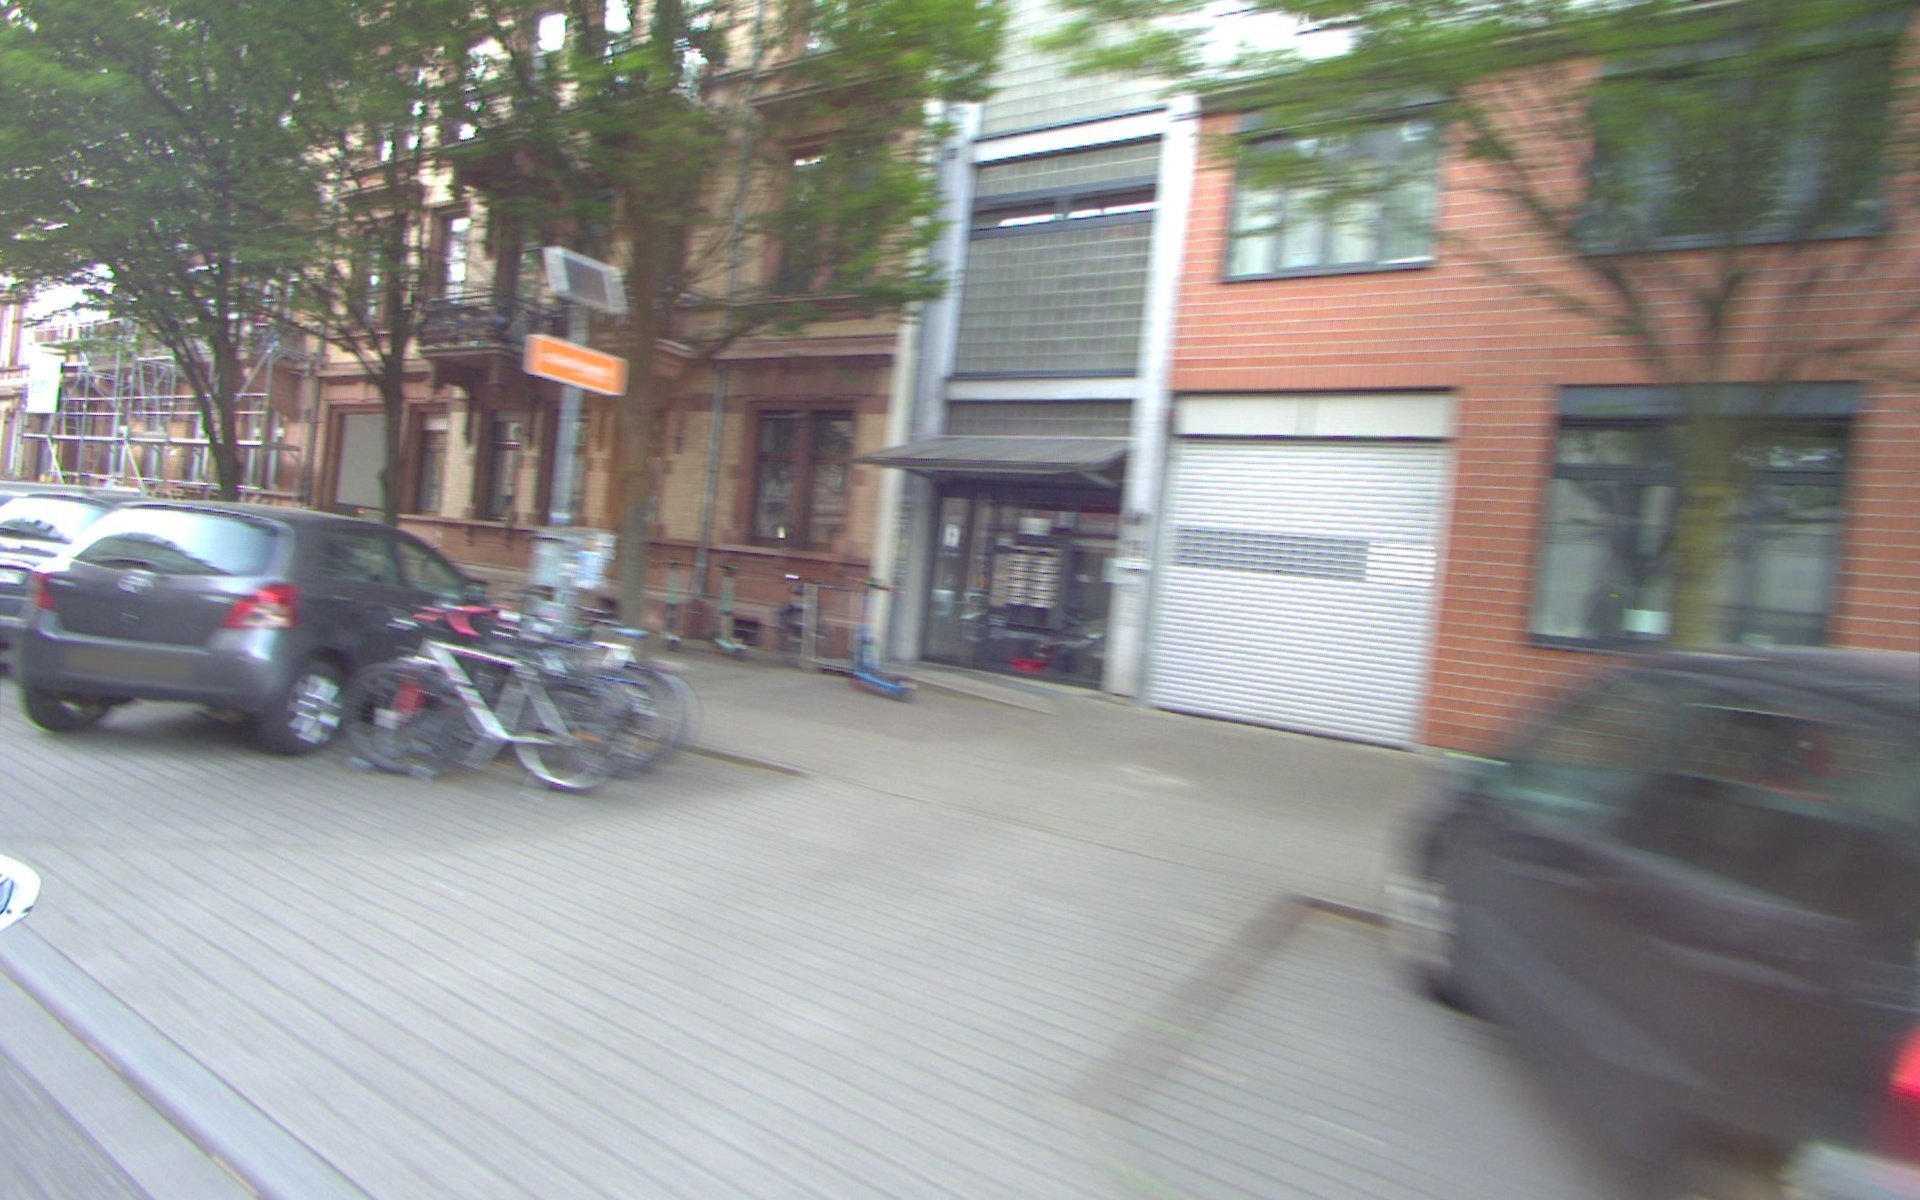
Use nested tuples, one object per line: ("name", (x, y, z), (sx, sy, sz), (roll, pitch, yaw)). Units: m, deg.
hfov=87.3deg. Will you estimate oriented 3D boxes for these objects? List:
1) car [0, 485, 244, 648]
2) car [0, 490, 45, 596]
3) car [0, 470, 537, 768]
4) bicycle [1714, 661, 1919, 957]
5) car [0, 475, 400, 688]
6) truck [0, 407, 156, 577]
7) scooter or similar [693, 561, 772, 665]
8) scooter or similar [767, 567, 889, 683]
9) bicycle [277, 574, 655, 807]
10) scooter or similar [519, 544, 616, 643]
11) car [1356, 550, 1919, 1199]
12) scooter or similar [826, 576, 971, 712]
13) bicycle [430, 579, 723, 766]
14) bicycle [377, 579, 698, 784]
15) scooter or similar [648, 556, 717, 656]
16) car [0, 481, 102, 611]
("car", (-9.619, -0.410, 10.369), (1.730, 1.455, 3.833), (7, 1, -2))
("car", (-14.413, -0.930, 13.096), (1.581, 1.482, 3.561), (7, -1, 1))
("car", (-4.782, 0.067, 7.379), (1.742, 1.493, 3.405), (7, 1, 1))
("bicycle", (5.175, 1.132, 6.177), (0.590, 1.396, 2.535), (7, 0, 34))
("car", (-7.420, -0.206, 9.479), (1.729, 1.550, 3.837), (6, 1, 7))
("truck", (-19.858, -2.309, 19.345), (2.228, 3.011, 6.328), (4, -3, 33))
("scooter or similar", (-3.047, 0.141, 13.370), (0.366, 1.234, 1.688), (2, 3, -34))
("scooter or similar", (-1.635, 0.274, 12.245), (1.752, 1.235, 0.410), (6, 5, 44))
("bicycle", (-2.877, 0.510, 5.974), (1.822, 1.121, 0.694), (6, 0, 3))
("scooter or similar", (-5.554, -0.103, 14.202), (1.328, 1.260, 0.511), (7, 4, 30))
("car", (2.573, 0.869, 3.097), (1.725, 1.657, 4.000), (7, 1, 12))
("scooter or similar", (-0.688, 0.419, 10.685), (1.752, 1.236, 0.465), (7, 8, 44))
("bicycle", (-2.744, 0.509, 7.285), (1.822, 1.121, 0.559), (6, 0, 3))
("bicycle", (-2.768, 0.520, 6.680), (1.822, 1.121, 0.559), (6, 0, 3))
("scooter or similar", (-3.833, 0.055, 13.821), (0.366, 1.234, 1.605), (2, 3, -34))
("car", (-12.133, -0.738, 11.453), (1.609, 1.549, 3.889), (7, -1, -7))
